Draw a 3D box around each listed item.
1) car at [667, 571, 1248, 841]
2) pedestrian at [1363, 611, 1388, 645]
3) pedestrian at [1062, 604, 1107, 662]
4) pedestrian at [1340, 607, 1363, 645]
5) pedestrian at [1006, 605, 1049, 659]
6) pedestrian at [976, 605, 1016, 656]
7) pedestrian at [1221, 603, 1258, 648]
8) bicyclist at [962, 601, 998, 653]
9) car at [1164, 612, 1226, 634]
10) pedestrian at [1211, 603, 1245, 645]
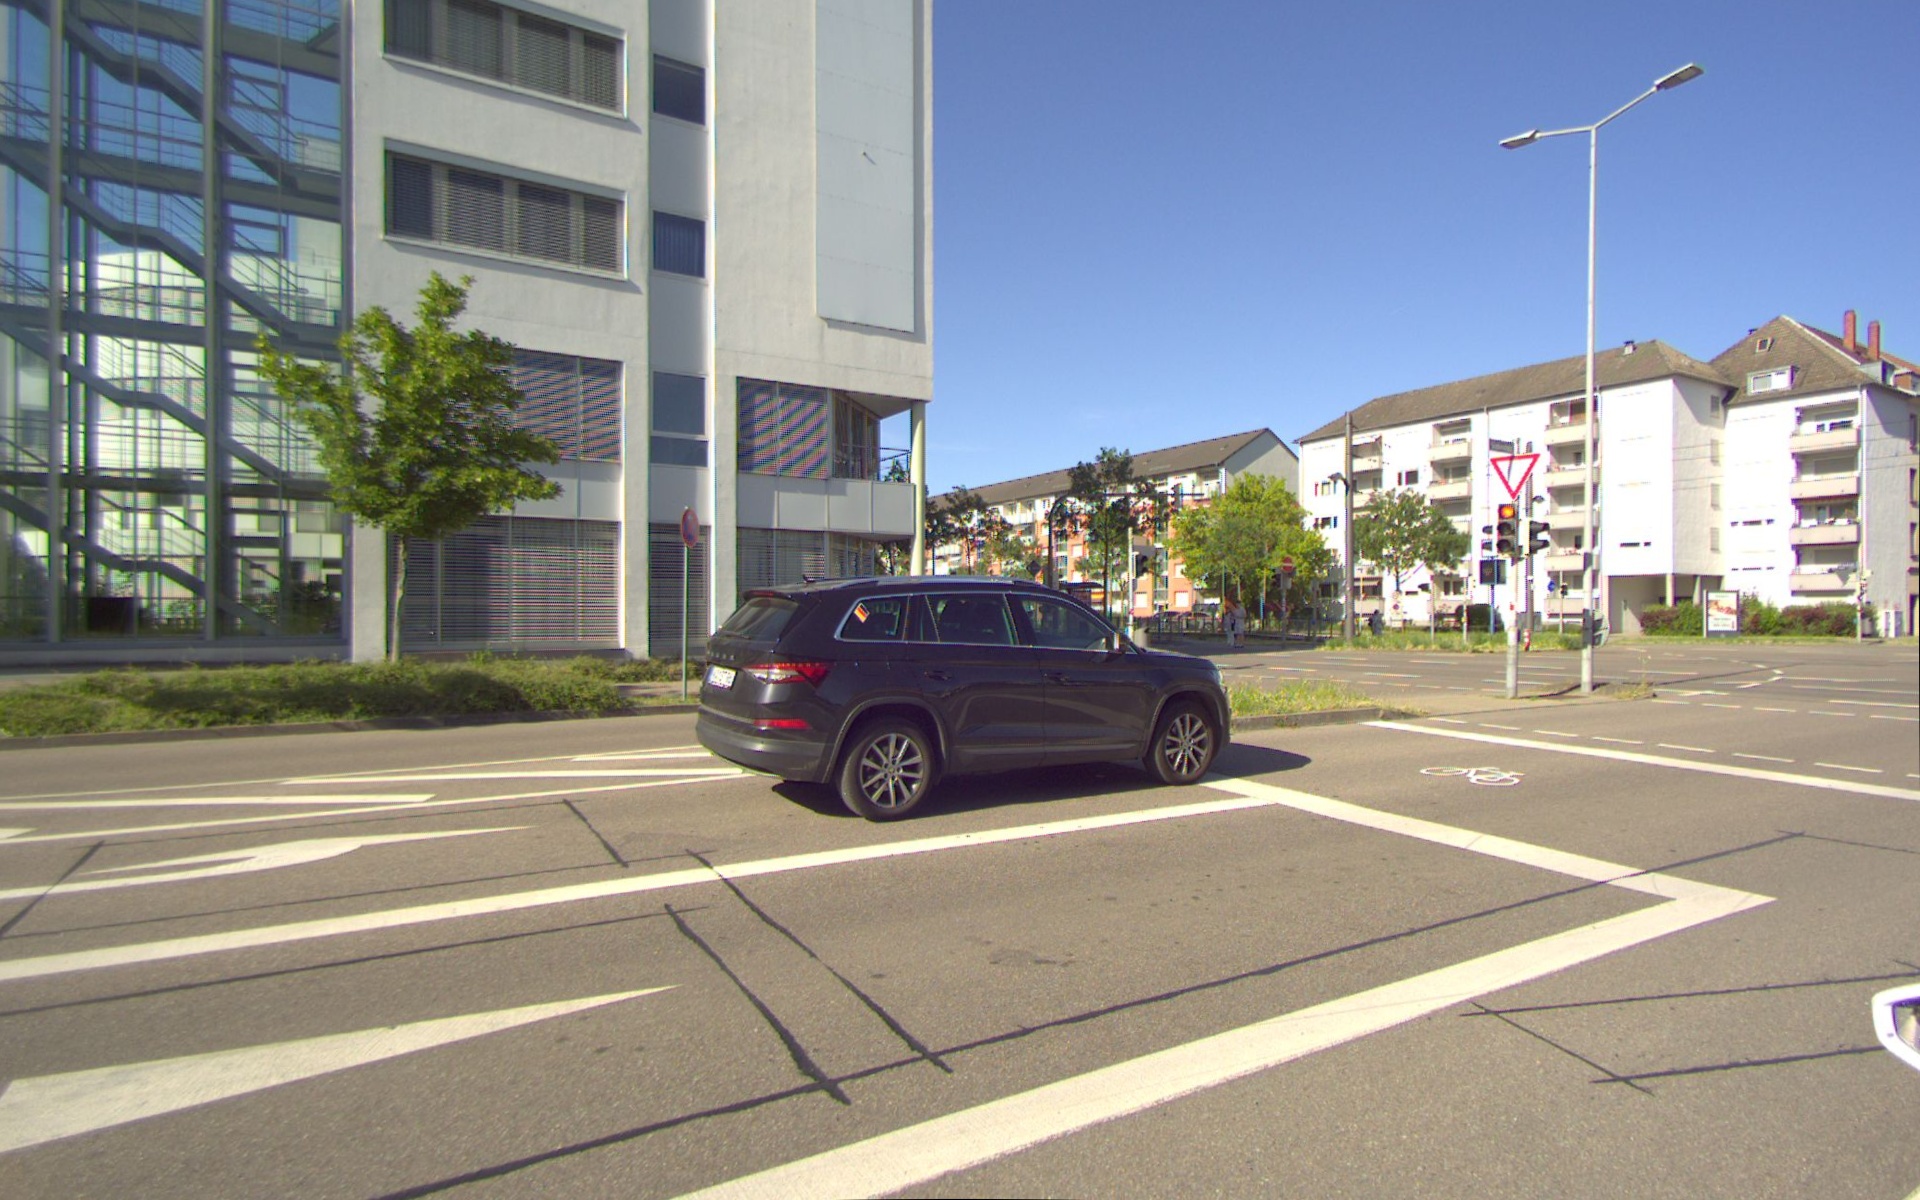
[{"bbox_3d":[0.102,0.662,8.092,4.429,1.650,1.744,1,1,-33],"label":"car"},{"bbox_3d":[19.159,1.305,46.306,0.850,1.554,0.719,0,-1,-36],"label":"pedestrian"},{"bbox_3d":[3.826,1.013,30.838,1.143,1.749,0.805,0,-1,-36],"label":"pedestrian"},{"bbox_3d":[18.228,1.197,46.778,0.797,1.749,1.155,0,-1,10],"label":"pedestrian"},{"bbox_3d":[2.220,1.032,32.972,1.143,1.749,0.805,0,-1,-36],"label":"pedestrian"},{"bbox_3d":[1.260,1.051,35.297,1.143,1.749,0.805,0,-1,-36],"label":"pedestrian"},{"bbox_3d":[11.236,1.018,40.418,1.143,1.794,0.914,0,-1,-36],"label":"pedestrian"},{"bbox_3d":[0.635,0.858,31.927,0.668,1.607,0.993,1,-1,-40],"label":"bicyclist"},{"bbox_3d":[17.422,1.700,74.646,4.310,1.451,1.694,2,1,7],"label":"car"},{"bbox_3d":[11.193,0.990,41.955,1.143,1.749,0.805,0,-1,-36],"label":"pedestrian"}]
